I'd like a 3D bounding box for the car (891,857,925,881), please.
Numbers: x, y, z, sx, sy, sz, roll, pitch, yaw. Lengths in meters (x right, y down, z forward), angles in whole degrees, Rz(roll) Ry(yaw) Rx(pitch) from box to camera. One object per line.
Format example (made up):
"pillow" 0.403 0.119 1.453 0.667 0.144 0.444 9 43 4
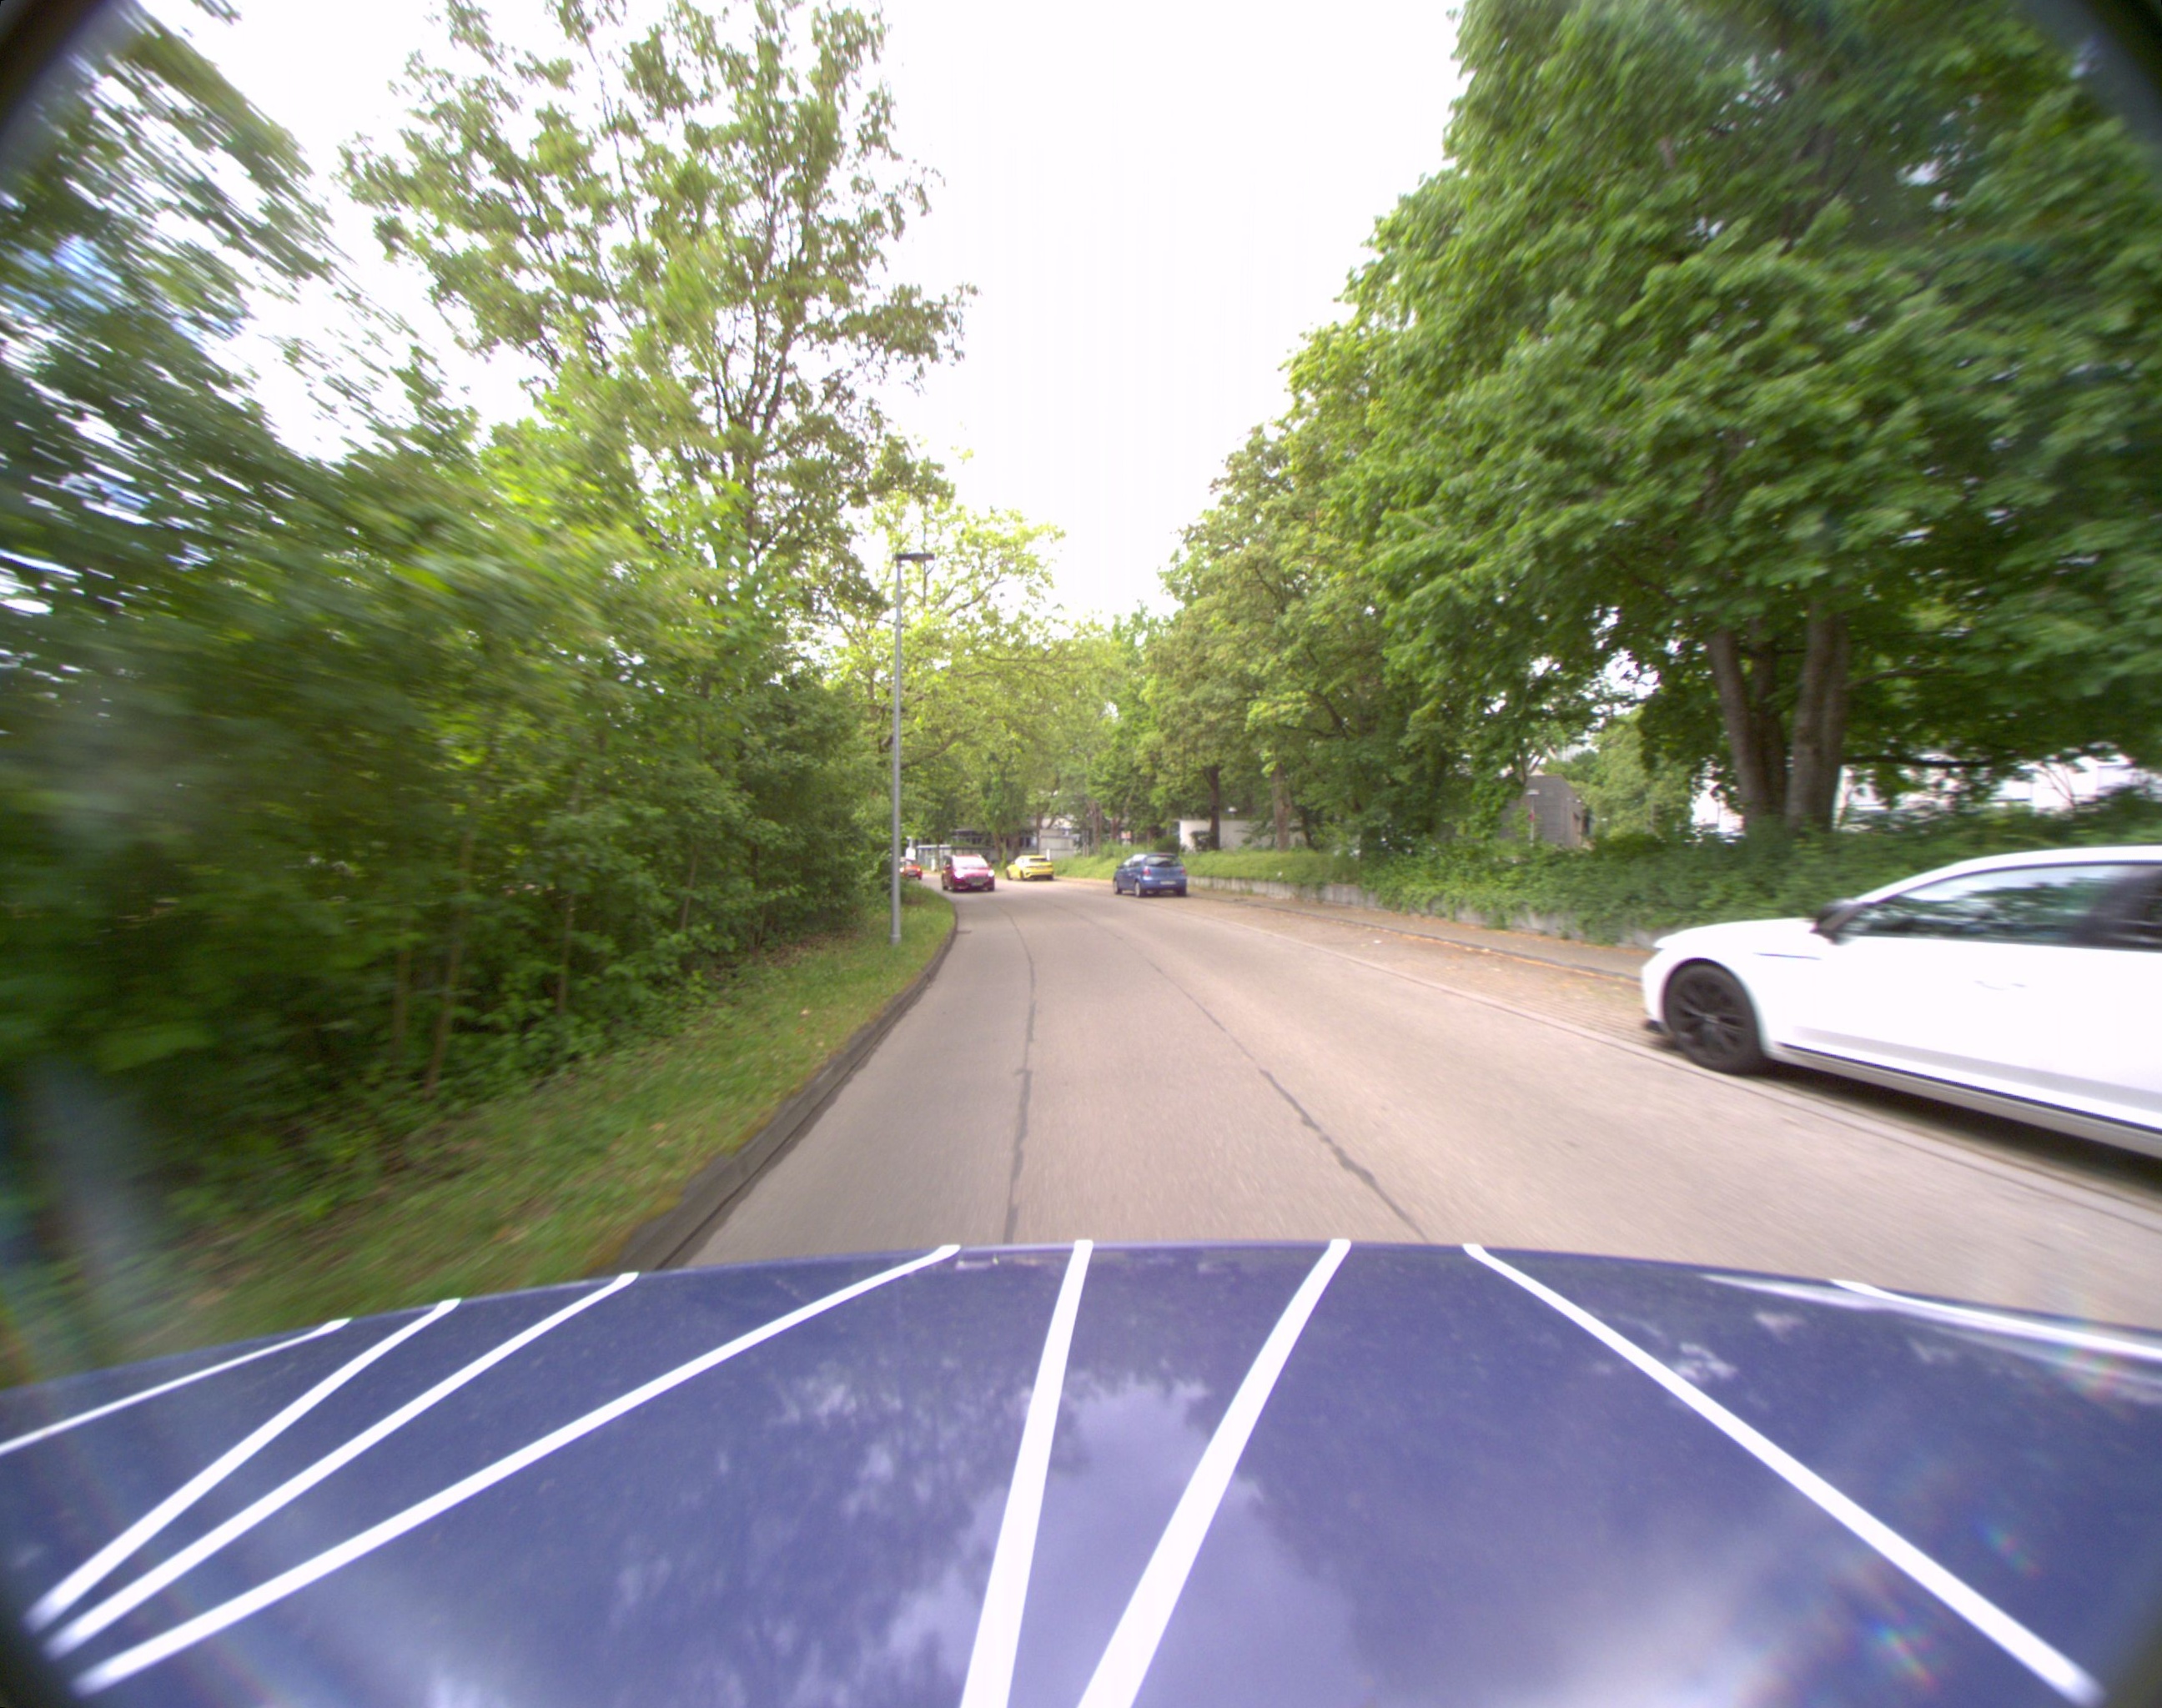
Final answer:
"car" -11.766 0.970 51.432 1.950 1.522 4.080 -2 0 -17

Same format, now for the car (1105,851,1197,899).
"car" 2.317 0.667 26.135 1.855 1.483 3.994 -1 0 -15

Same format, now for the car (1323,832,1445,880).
"car" 11.442 0.077 28.803 3.801 1.629 2.004 -1 2 41

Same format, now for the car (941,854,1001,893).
"car" -5.084 0.829 34.688 1.948 1.550 4.348 -2 1 -18

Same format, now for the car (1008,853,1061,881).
"car" -2.707 0.689 43.143 1.855 1.483 3.993 -1 0 -21

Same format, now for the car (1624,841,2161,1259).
"car" 4.787 0.696 2.984 1.853 1.483 4.634 -1 0 -3
